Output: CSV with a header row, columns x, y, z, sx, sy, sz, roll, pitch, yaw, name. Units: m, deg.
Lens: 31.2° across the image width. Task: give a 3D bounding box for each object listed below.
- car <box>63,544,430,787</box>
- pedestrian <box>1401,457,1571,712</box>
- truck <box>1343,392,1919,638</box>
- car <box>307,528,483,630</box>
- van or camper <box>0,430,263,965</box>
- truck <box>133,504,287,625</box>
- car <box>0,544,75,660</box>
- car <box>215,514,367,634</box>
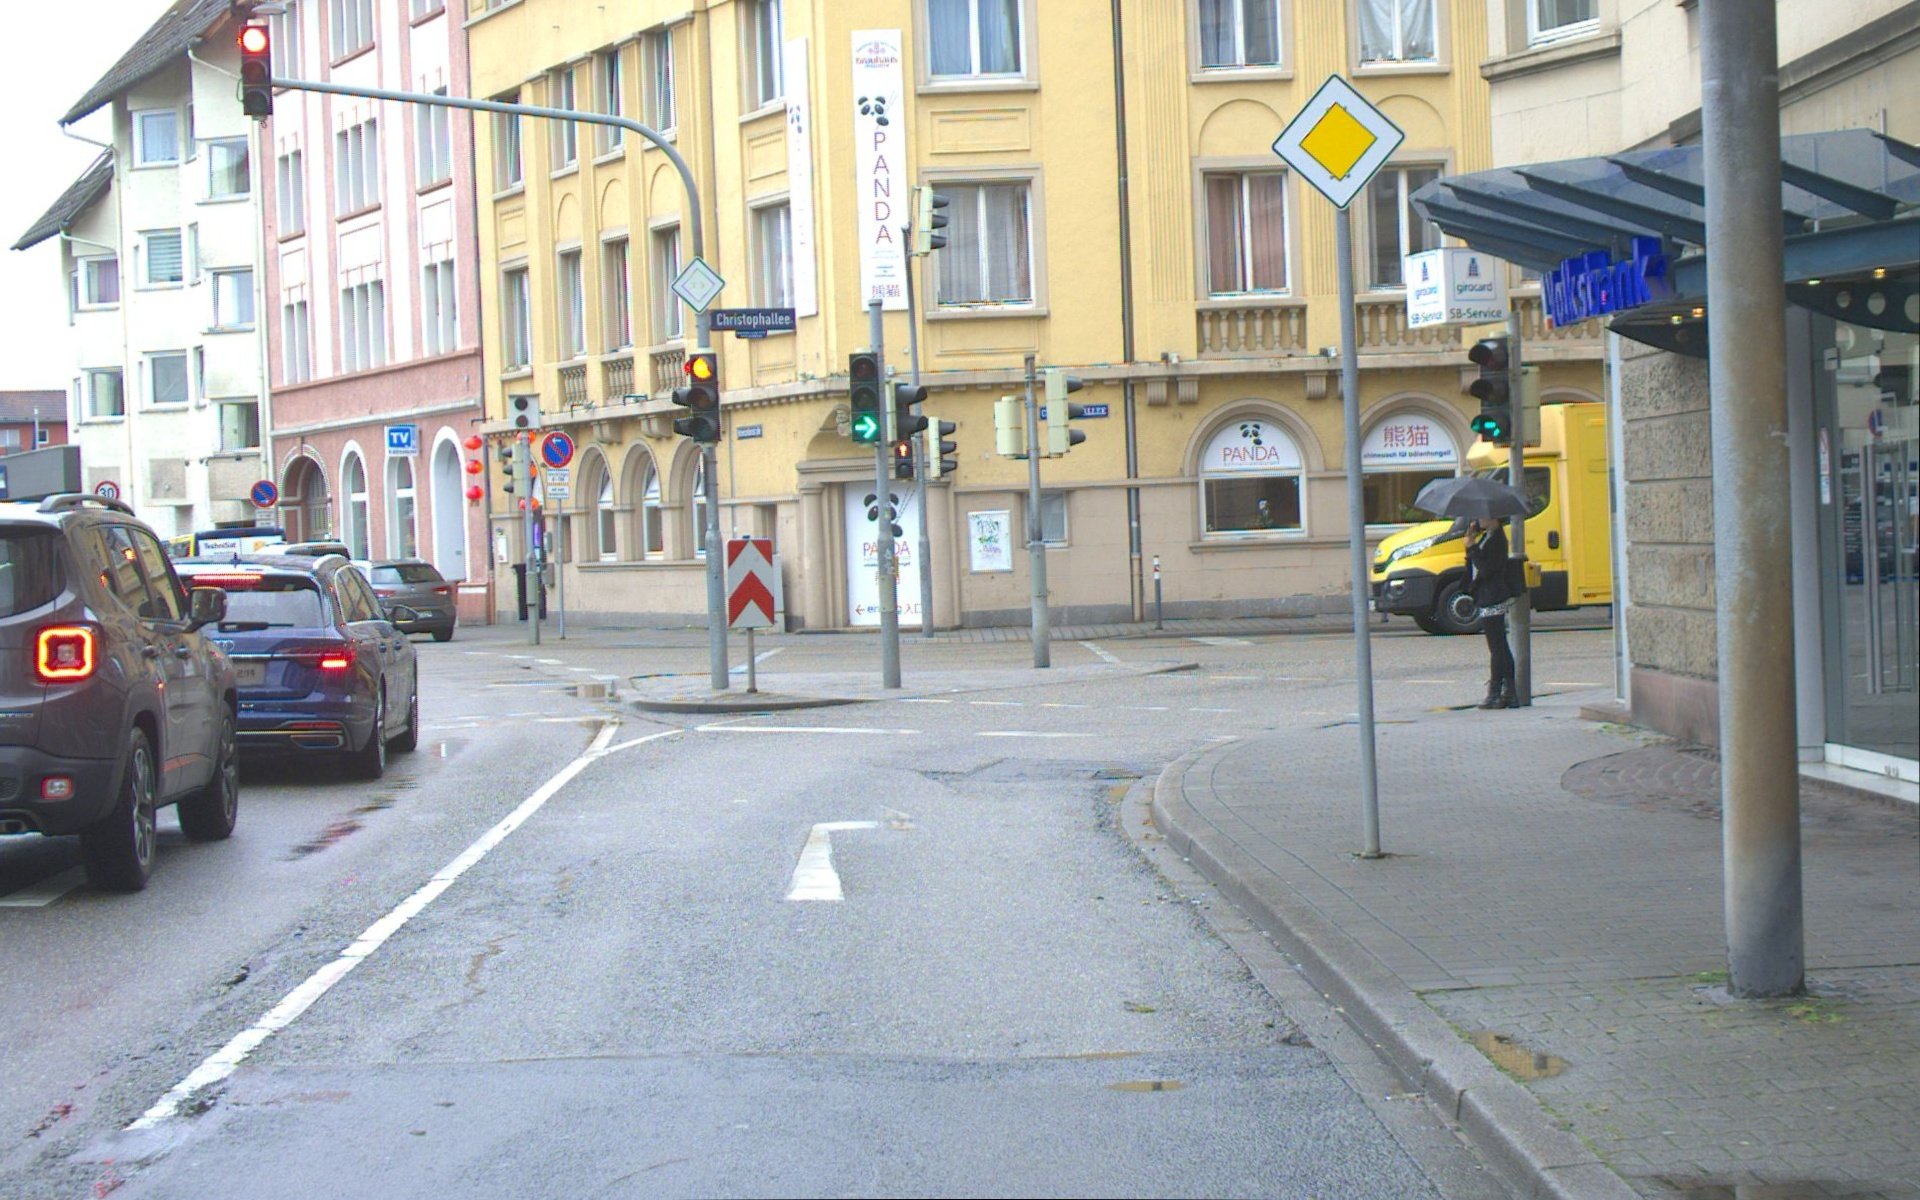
x,y,z,sx,sy,sz,roll,pitch,yaw,name
-4.562,0.364,22.605,1.802,1.401,4.685,-1,0,-5,car
4.028,-0.126,26.301,1.058,1.897,1.024,-1,1,20,pedestrian
8.536,-1.060,43.223,7.090,2.841,2.083,-2,0,-2,truck
-9.631,-0.392,58.376,1.878,1.631,4.001,0,2,-26,car
-4.433,0.375,15.854,1.854,2.139,4.143,-2,1,-5,van or camper
-15.277,-0.743,69.888,2.026,2.381,4.237,-1,1,-27,truck
-16.028,0.038,56.215,1.993,1.809,4.000,-2,1,-30,car
-12.650,-0.511,64.847,1.761,2.172,4.001,-1,1,-27,car
